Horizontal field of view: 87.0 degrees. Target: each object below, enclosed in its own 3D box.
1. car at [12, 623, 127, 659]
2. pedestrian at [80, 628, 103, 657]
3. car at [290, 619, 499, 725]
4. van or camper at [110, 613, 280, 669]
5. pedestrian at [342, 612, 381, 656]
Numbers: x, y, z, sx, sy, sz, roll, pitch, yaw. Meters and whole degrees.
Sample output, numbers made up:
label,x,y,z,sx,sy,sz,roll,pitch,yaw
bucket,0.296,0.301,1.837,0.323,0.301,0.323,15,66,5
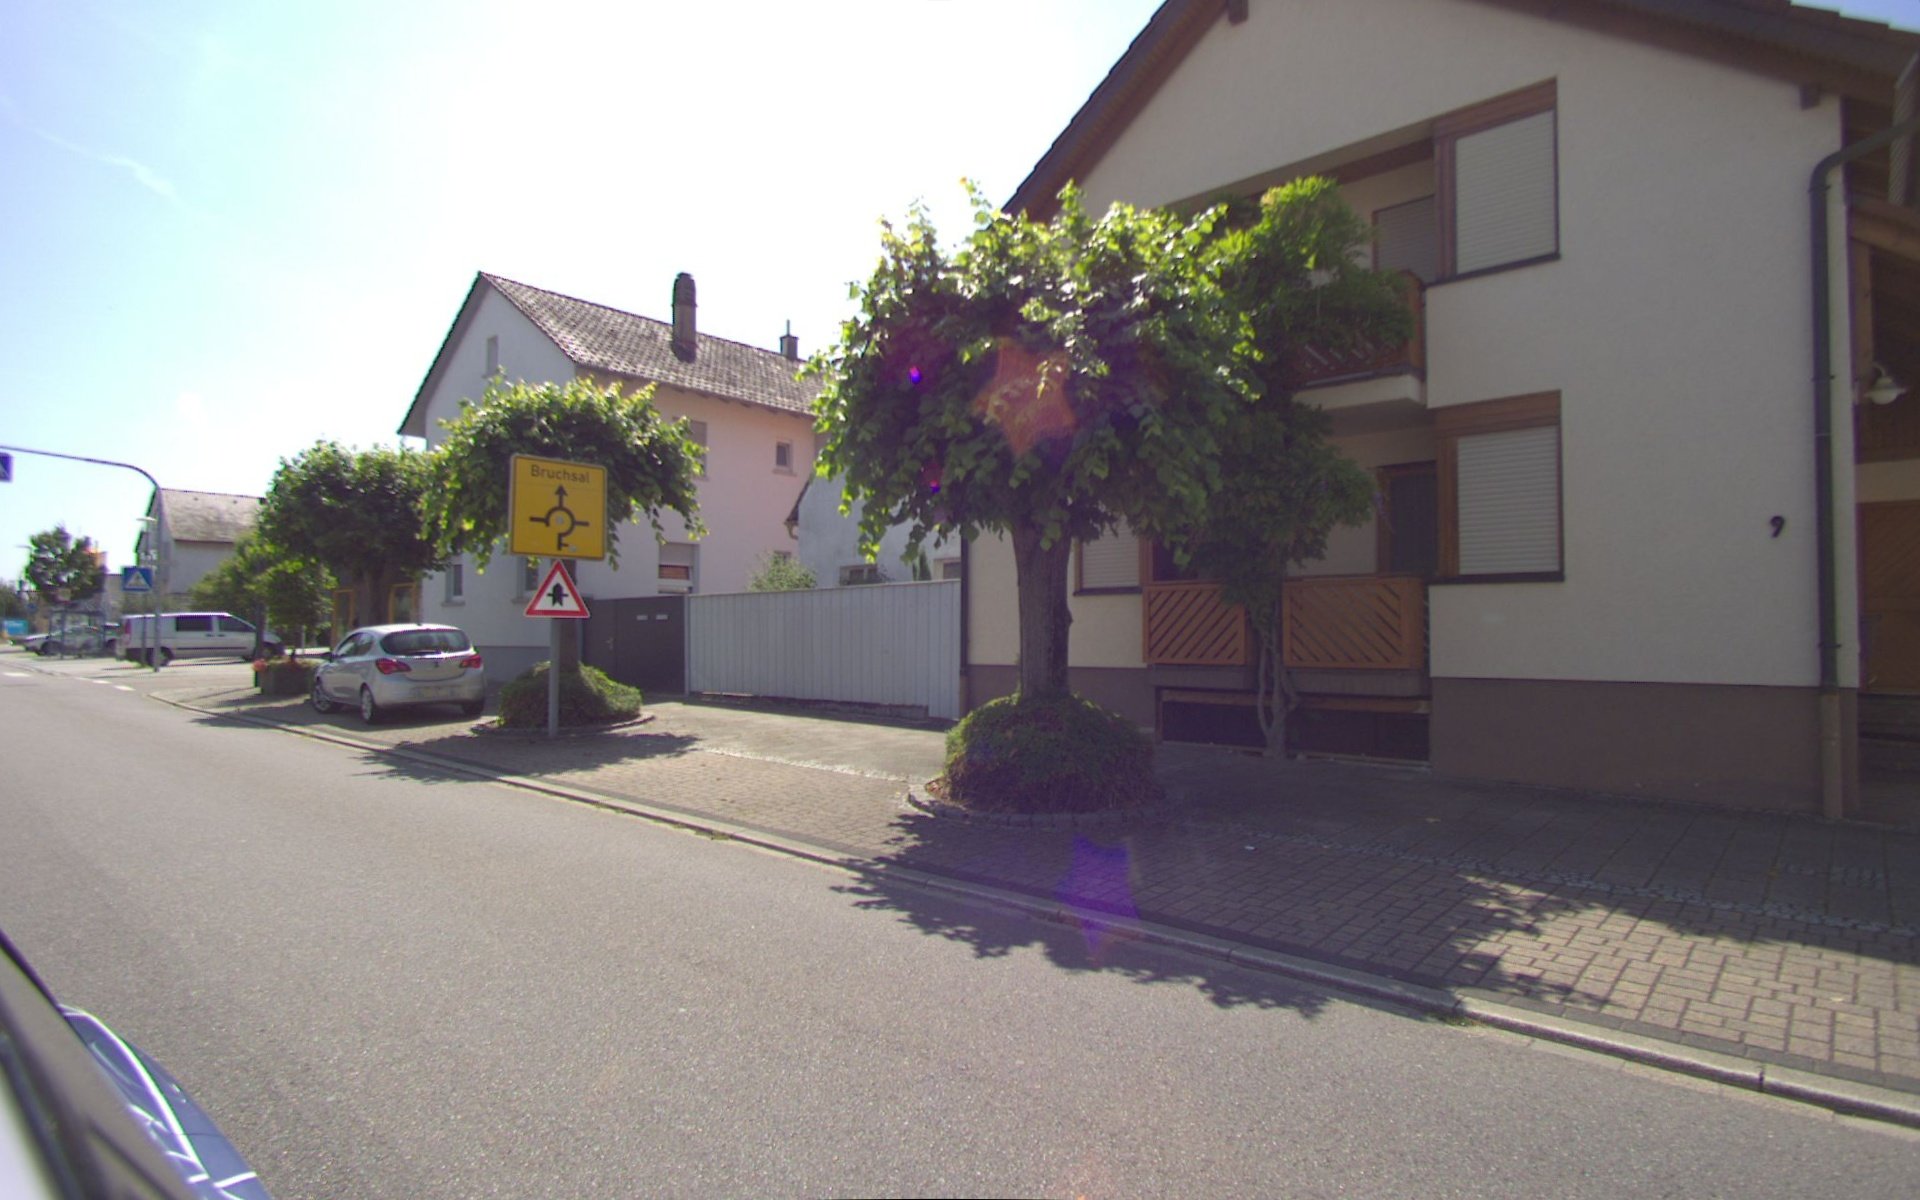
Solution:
label,x,y,z,sx,sy,sz,roll,pitch,yaw
car,-46.677,2.118,53.118,1.942,1.732,4.201,-1,0,36
pedestrian,-41.233,2.022,48.046,0.607,1.368,0.776,-2,-2,42
car,-9.416,1.081,16.707,4.132,1.494,1.805,-1,0,42
van or camper,-28.153,1.466,37.372,1.999,1.877,4.691,-2,-1,41
pedestrian,-24.745,1.417,41.842,0.922,1.788,1.069,0,-2,5
